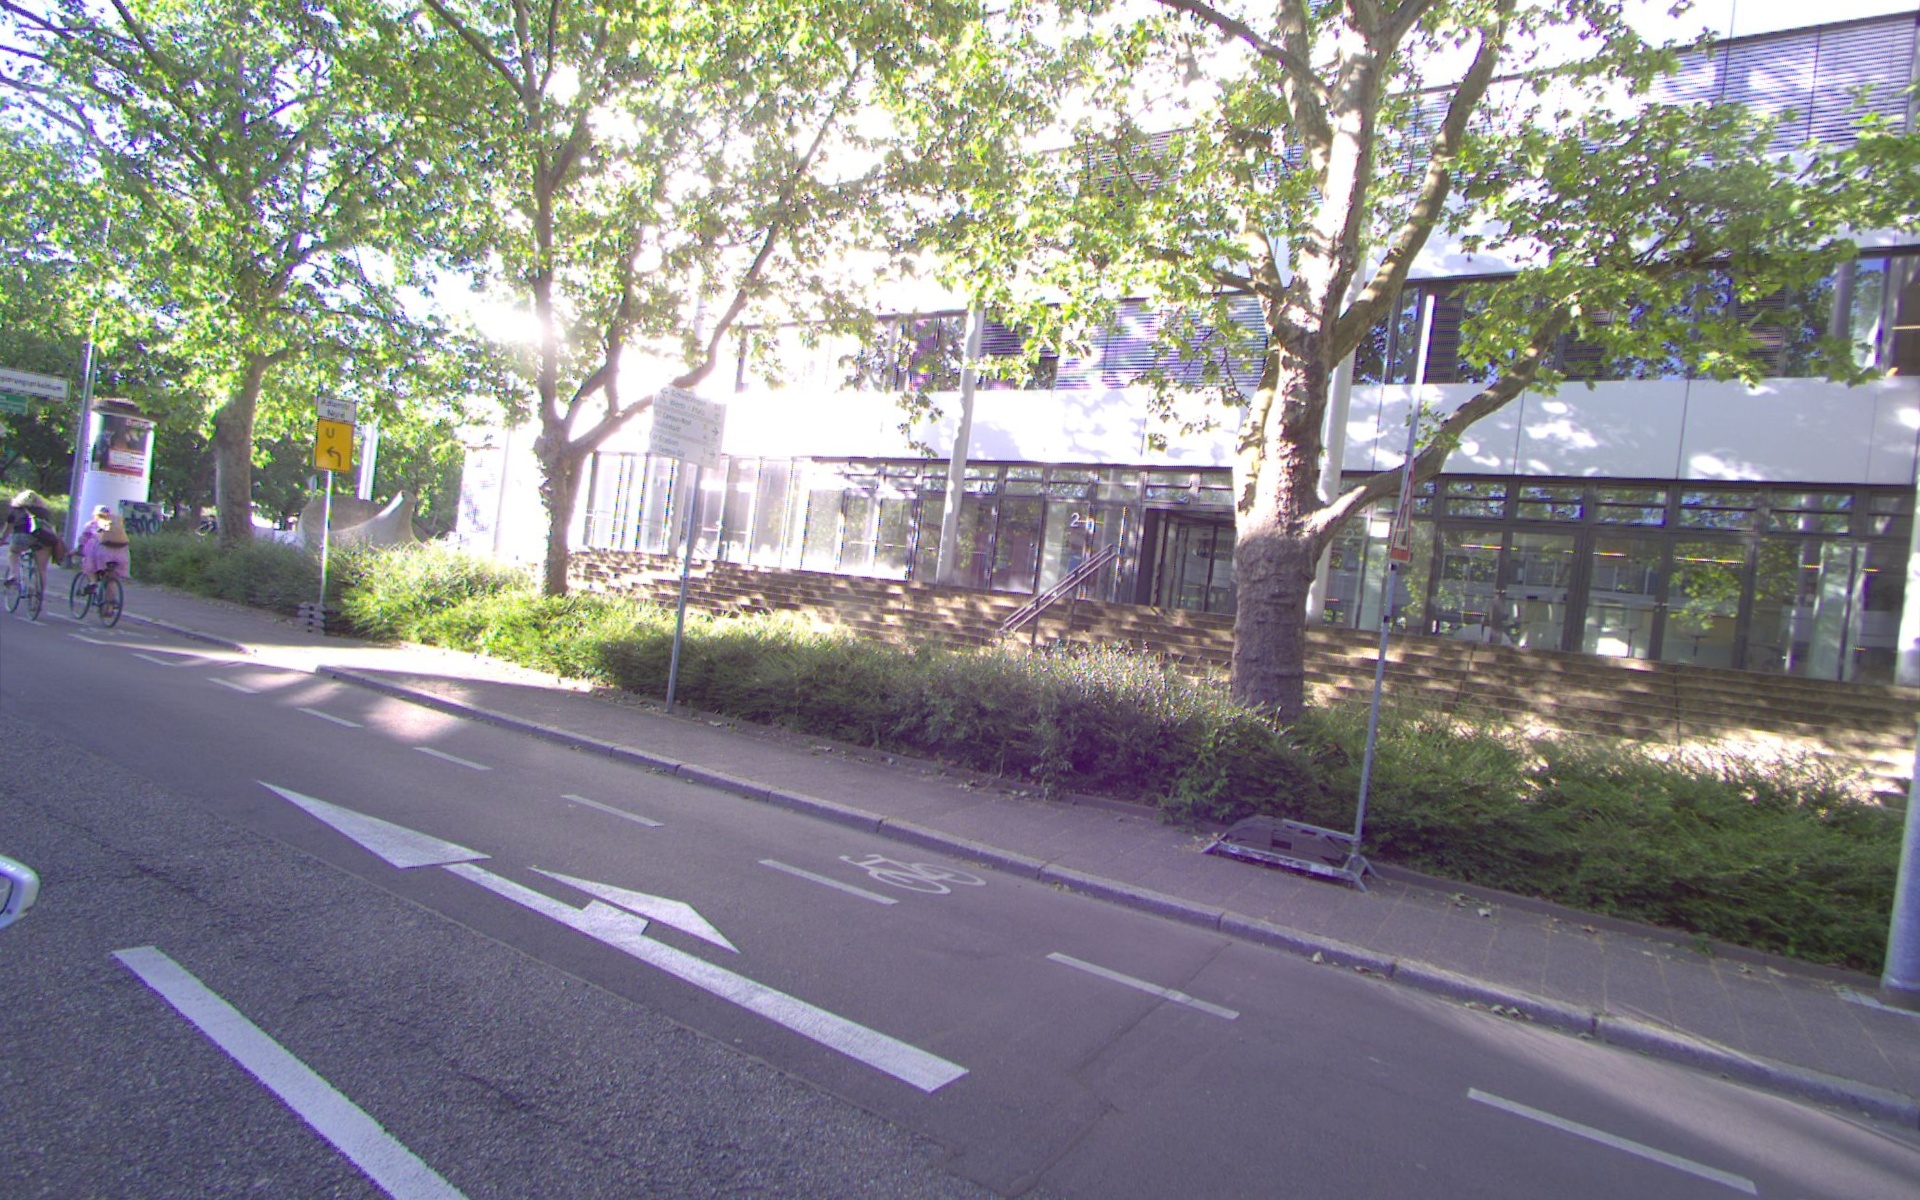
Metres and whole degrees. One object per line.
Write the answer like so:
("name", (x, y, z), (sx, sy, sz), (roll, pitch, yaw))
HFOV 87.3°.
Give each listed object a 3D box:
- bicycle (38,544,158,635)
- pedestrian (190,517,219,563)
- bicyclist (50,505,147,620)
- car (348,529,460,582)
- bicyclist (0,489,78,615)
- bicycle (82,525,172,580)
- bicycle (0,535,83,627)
("bicycle", (-11.736, -0.153, 13.684), (1.850, 0.996, 0.602), (7, -2, 32))
("pedestrian", (-31.466, -2.481, 41.892), (0.620, 1.805, 0.620), (7, 0, 34))
("bicyclist", (-11.764, -0.515, 13.733), (0.915, 1.417, 0.602), (7, -2, 32))
("car", (-25.877, -2.040, 46.910), (1.969, 1.805, 3.998), (7, -1, 37))
("bicyclist", (-12.382, -0.644, 13.367), (0.875, 1.533, 0.611), (7, -2, 32))
("bicycle", (-19.100, -1.087, 23.101), (0.529, 1.049, 1.418), (7, -1, 28))
("bicycle", (-12.450, -0.282, 13.375), (1.702, 1.038, 0.611), (7, -2, 32))
